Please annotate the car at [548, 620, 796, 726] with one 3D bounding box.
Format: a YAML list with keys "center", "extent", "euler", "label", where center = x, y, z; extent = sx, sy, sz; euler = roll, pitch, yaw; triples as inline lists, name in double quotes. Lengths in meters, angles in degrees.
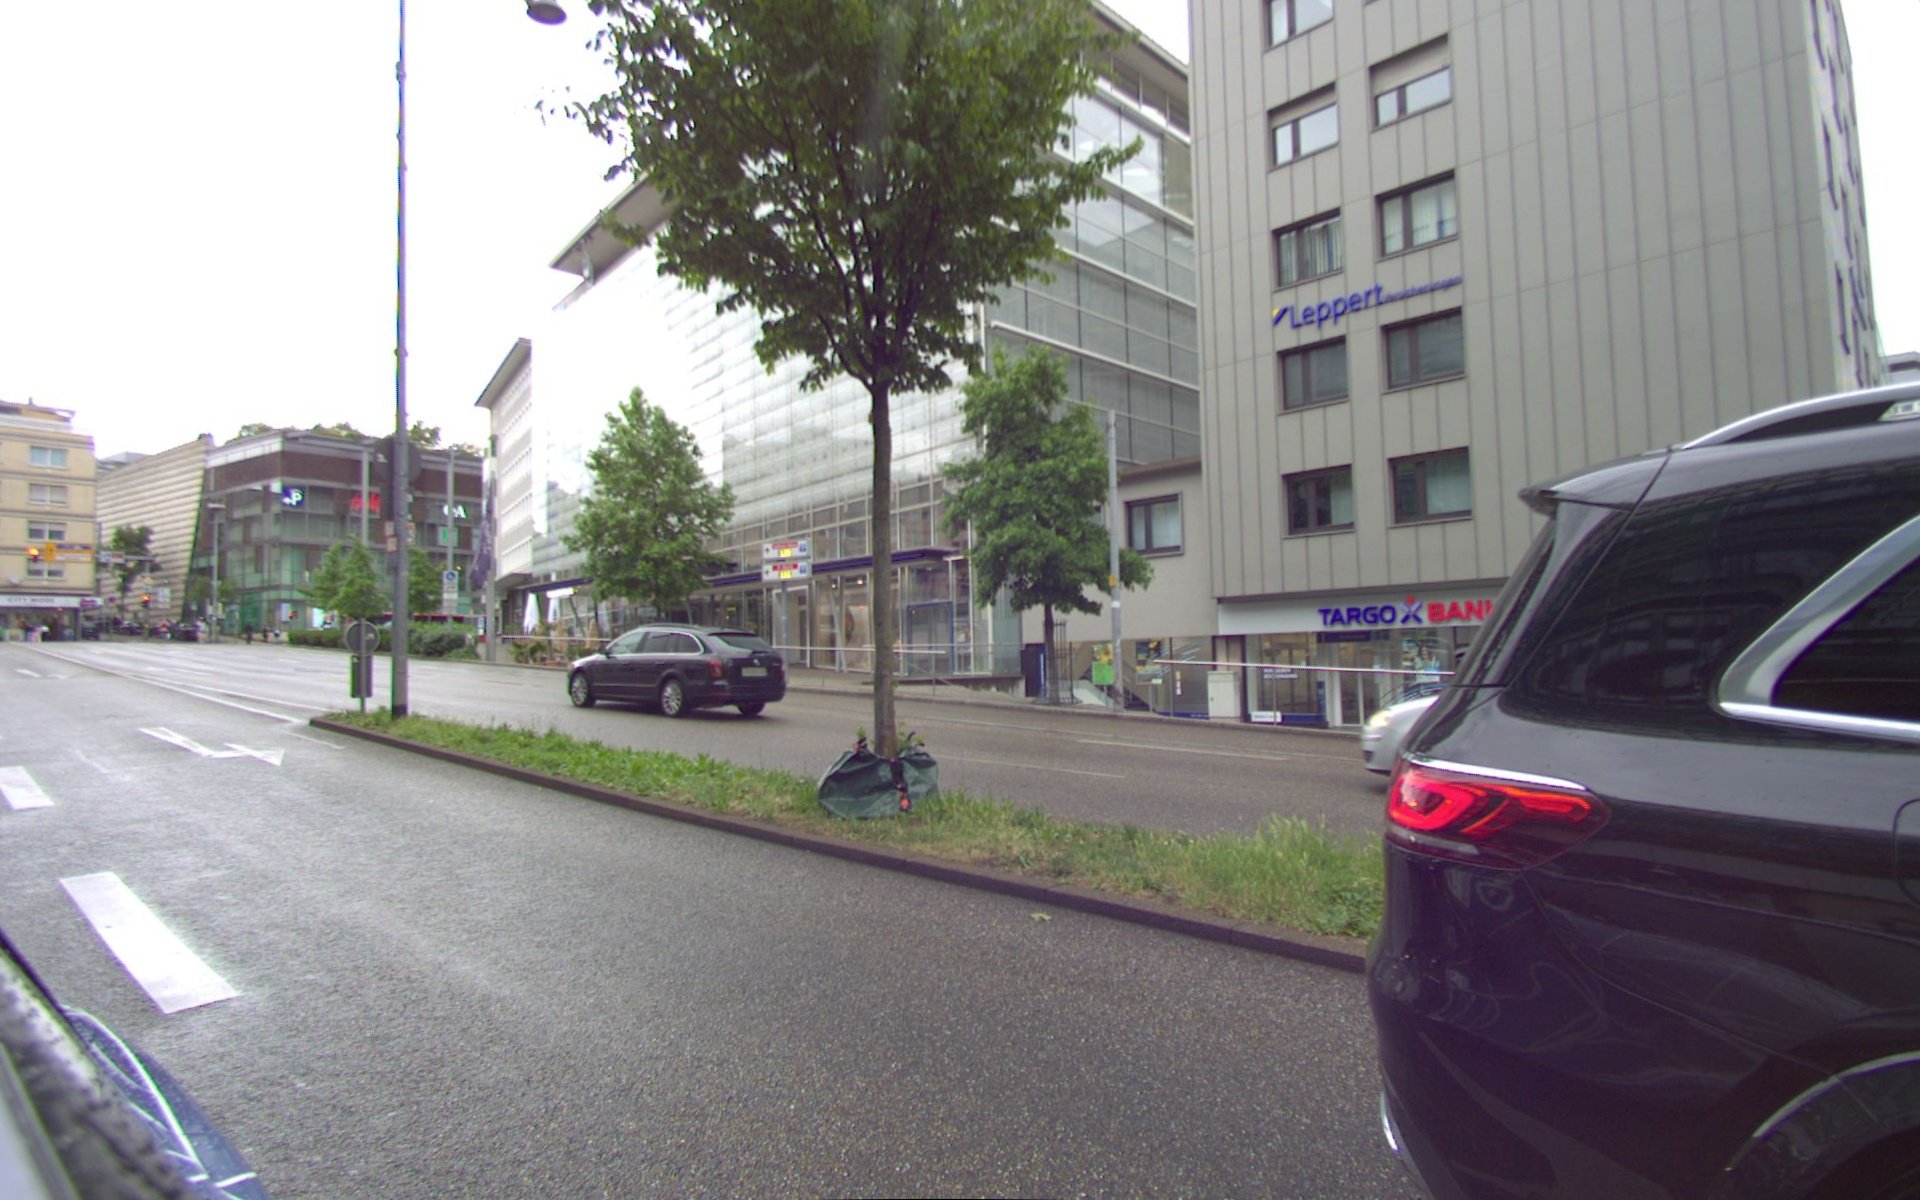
- center: [-5.003, 1.159, 17.218]
  extent: [4.733, 1.497, 1.617]
  euler: [0, -3, 39]
  label: "car"

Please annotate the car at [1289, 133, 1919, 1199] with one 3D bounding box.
- center: [3.089, 0.383, 0.792]
  extent: [5.069, 1.884, 1.892]
  euler: [0, 0, 40]
  label: "car"

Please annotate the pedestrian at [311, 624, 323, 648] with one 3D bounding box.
- center: [-48.656, 2.703, 76.594]
  extent: [0.617, 1.788, 0.689]
  euler: [0, 0, -43]
  label: "pedestrian"

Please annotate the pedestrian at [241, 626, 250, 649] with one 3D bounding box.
- center: [-52.805, 2.766, 74.790]
  extent: [0.602, 1.642, 0.422]
  euler: [-1, -3, 44]
  label: "pedestrian"

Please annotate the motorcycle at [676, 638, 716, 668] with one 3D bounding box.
- center: [-12.023, 2.426, 46.191]
  extent: [0.620, 1.336, 1.685]
  euler: [-1, -3, 41]
  label: "motorcycle"

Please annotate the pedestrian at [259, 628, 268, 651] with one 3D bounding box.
- center: [-50.333, 2.868, 73.128]
  extent: [0.603, 1.642, 0.422]
  euler: [-1, -3, 45]
  label: "pedestrian"

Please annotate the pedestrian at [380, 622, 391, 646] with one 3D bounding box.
- center: [-44.431, 2.619, 78.260]
  extent: [0.618, 1.788, 0.689]
  euler: [0, 0, -45]
  label: "pedestrian"

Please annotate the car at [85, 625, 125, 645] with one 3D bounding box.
- center: [-89.888, 3.658, 106.351]
  extent: [4.575, 2.029, 1.977]
  euler: [0, -2, 34]
  label: "car"

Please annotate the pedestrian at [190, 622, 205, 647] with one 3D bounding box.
- center: [-51.963, 2.342, 68.957]
  extent: [0.602, 1.642, 0.625]
  euler: [-1, -3, 42]
  label: "pedestrian"

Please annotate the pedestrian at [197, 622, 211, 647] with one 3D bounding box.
- center: [-51.162, 2.323, 68.451]
  extent: [0.603, 1.642, 0.625]
  euler: [-1, -3, 44]
  label: "pedestrian"

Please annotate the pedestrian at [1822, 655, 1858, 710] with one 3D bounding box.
- center: [27.859, 2.595, 32.055]
  extent: [0.724, 1.710, 0.781]
  euler: [0, -3, 34]
  label: "pedestrian"

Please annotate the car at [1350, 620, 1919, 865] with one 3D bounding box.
- center: [5.507, 1.023, 8.585]
  extent: [3.750, 1.479, 1.616]
  euler: [2, -2, 40]
  label: "car"
